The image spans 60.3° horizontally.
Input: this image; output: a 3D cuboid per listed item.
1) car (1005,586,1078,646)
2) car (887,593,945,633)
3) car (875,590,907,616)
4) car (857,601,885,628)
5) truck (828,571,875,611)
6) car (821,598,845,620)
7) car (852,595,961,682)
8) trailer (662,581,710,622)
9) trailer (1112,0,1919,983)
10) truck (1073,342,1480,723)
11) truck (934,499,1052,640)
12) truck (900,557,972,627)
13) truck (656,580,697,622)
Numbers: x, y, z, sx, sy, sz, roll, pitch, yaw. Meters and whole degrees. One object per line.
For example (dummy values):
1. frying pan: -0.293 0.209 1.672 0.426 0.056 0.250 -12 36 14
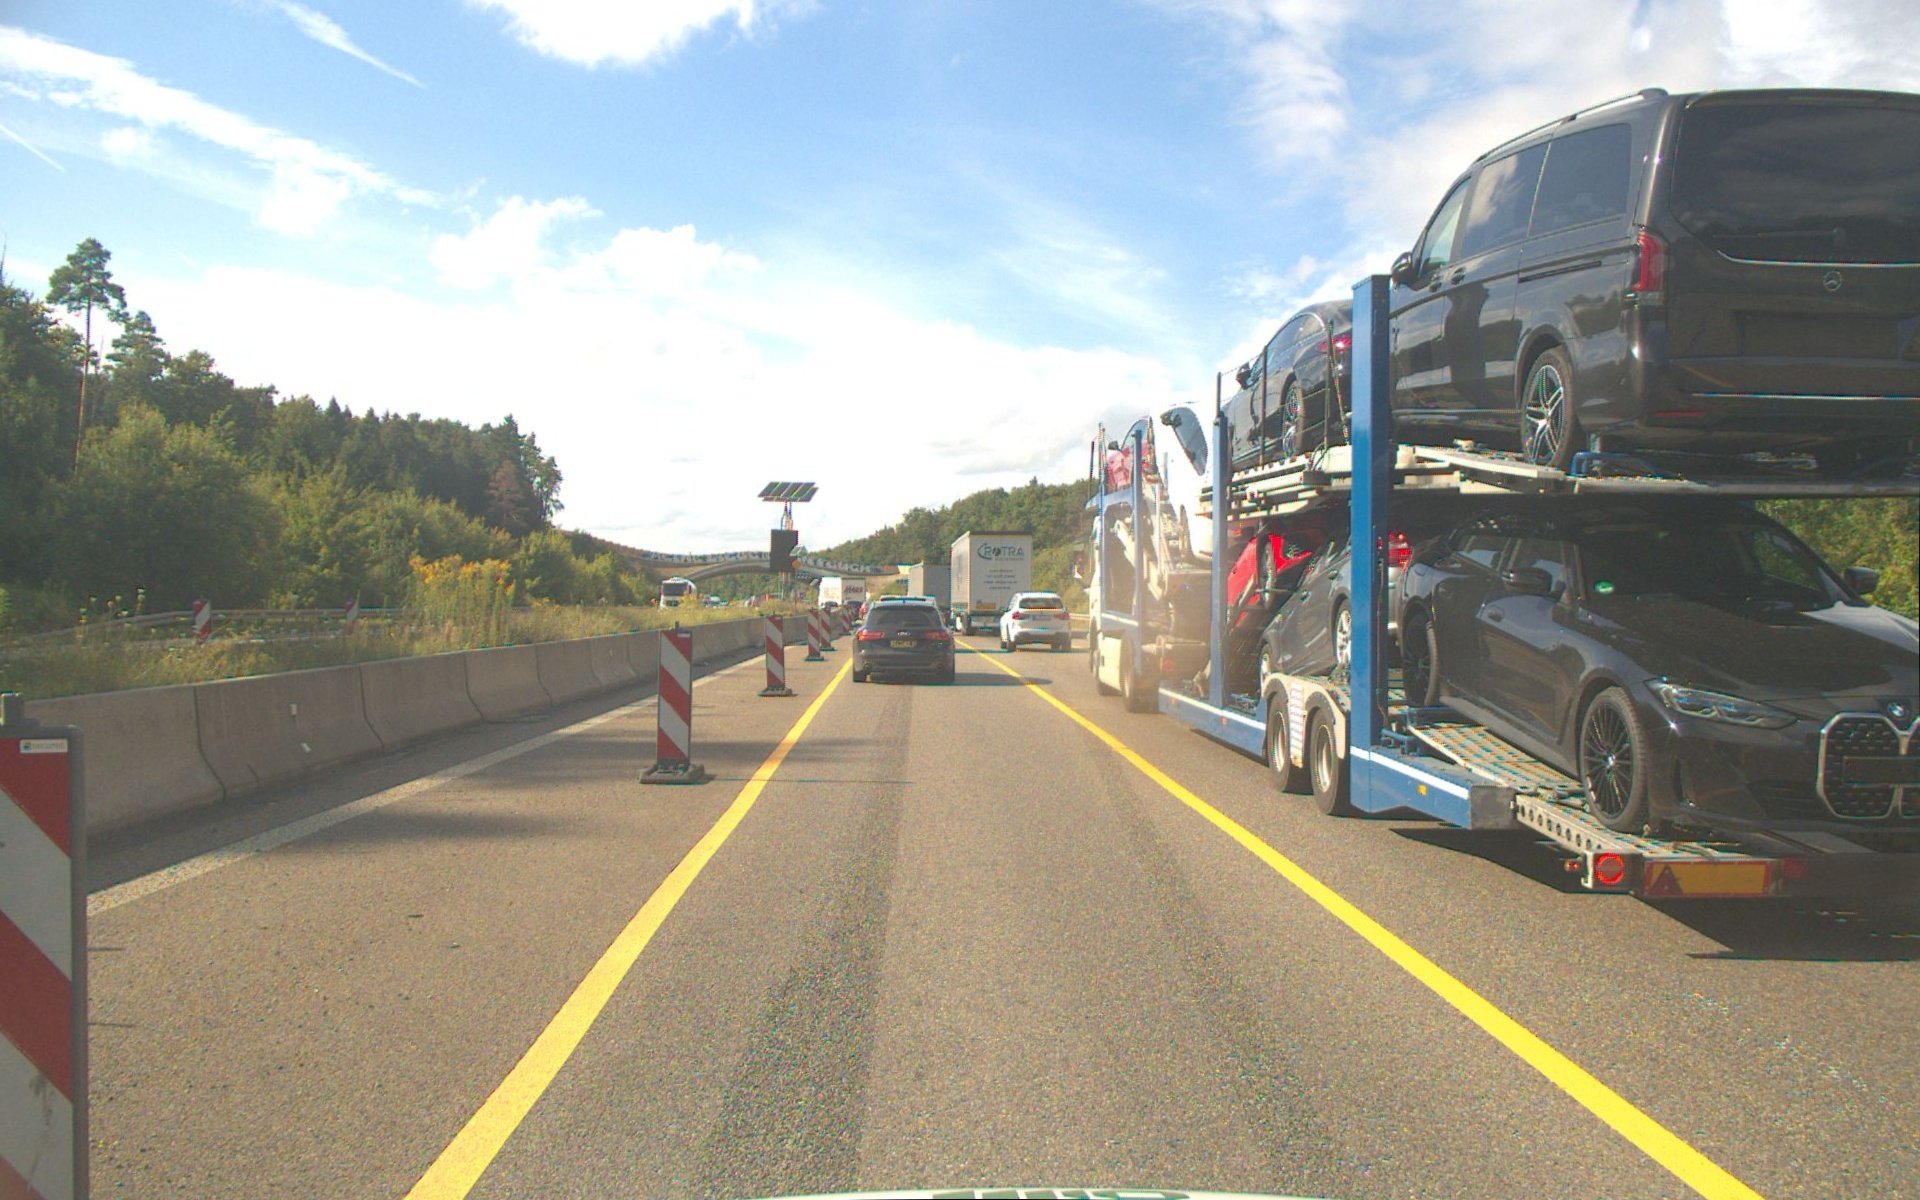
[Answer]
1. car: 2.361 0.467 48.854 1.852 1.672 4.017 1 0 -1
2. car: -1.728 0.490 64.286 1.854 1.472 3.993 1 0 -7
3. car: -4.524 0.217 108.069 1.854 1.672 4.013 1 0 -6
4. car: -6.760 1.094 125.338 1.955 2.049 3.995 1 0 -5
5. truck: -11.472 -0.867 173.486 3.589 3.997 11.036 1 0 -11
6. car: -12.169 0.882 158.275 1.956 2.049 3.992 1 0 -9
7. car: -0.952 0.665 30.260 1.852 1.472 3.999 1 0 -1
8. trailer: -24.462 0.158 148.201 2.745 3.551 11.109 1 0 -1
9. trailer: 4.304 -0.656 14.411 3.652 4.270 16.217 1 0 -3
10. truck: 3.873 -0.736 22.708 3.686 4.270 7.946 1 0 -3
11. truck: 1.159 -1.155 72.306 3.605 5.447 16.186 1 0 -4
12. truck: -1.842 -0.499 117.069 4.235 4.681 11.112 1 0 -5
13. truck: -24.330 0.073 142.053 2.728 3.551 4.938 1 0 -1
